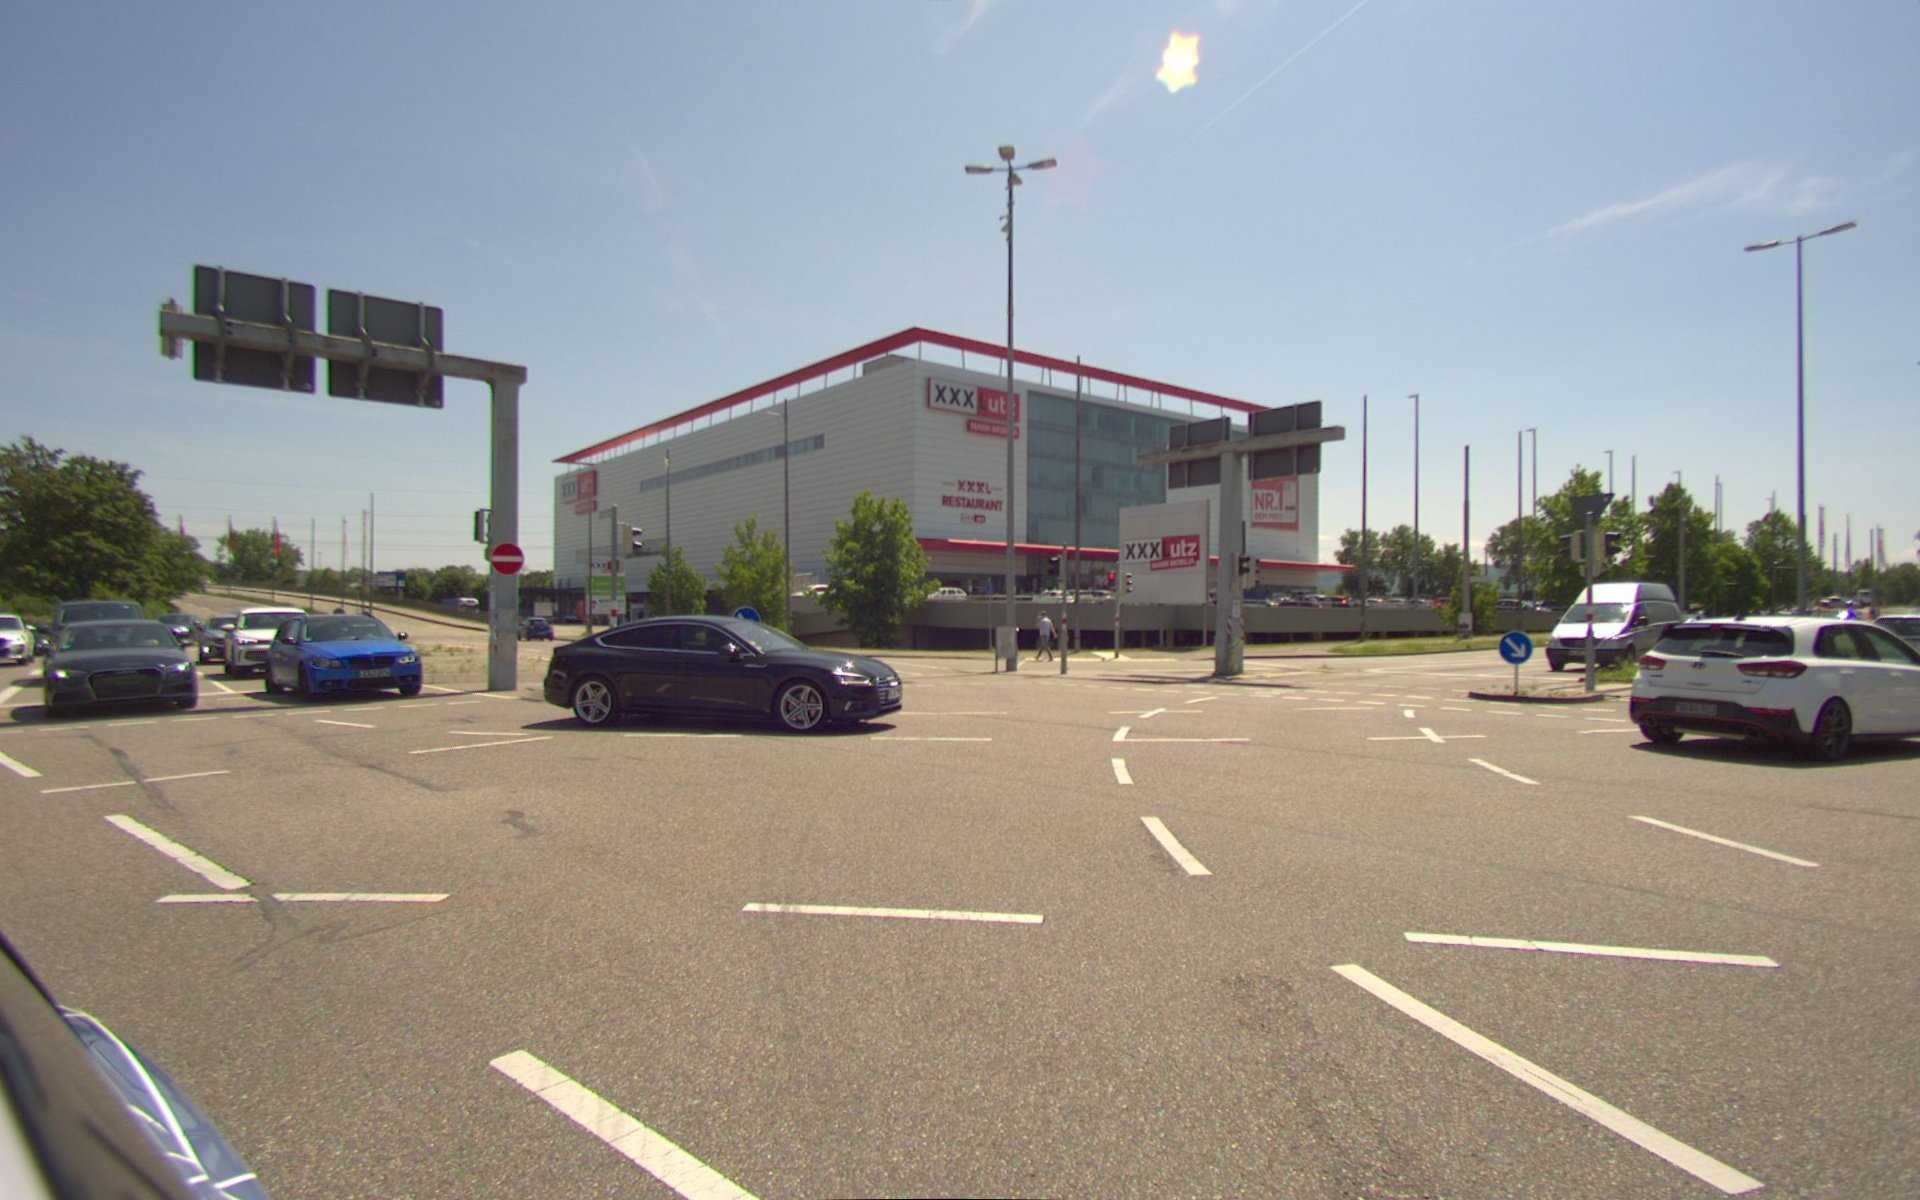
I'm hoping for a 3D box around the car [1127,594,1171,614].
[{"bbox_3d":[17.759,0.392,95.246,1.755,1.801,3.846,1,-1,-40],"label":"car"}]

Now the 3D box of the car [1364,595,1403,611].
[{"bbox_3d":[52.141,0.377,124.656,1.969,2.029,4.005,1,-1,-41],"label":"car"}]

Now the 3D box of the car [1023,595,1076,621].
[{"bbox_3d":[7.097,0.640,80.796,1.755,2.029,4.240,1,-1,-40],"label":"car"}]

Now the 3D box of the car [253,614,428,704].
[{"bbox_3d":[-11.083,0.997,17.971,1.744,1.414,4.434,1,-3,-44],"label":"car"}]

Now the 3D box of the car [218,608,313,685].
[{"bbox_3d":[-16.918,1.055,24.608,1.742,1.653,4.502,-1,0,-36],"label":"car"}]

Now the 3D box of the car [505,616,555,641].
[{"bbox_3d":[-28.647,1.846,67.372,1.969,1.608,4.006,1,-1,-40],"label":"car"}]

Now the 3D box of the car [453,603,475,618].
[{"bbox_3d":[-80.000,1.695,163.169,2.158,2.300,4.823,1,-1,-38],"label":"car"}]

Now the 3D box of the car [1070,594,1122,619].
[{"bbox_3d":[11.180,0.558,83.495,1.755,2.029,4.142,1,-1,-40],"label":"car"}]

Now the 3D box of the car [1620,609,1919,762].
[{"bbox_3d":[9.521,0.866,11.153,4.000,1.447,1.799,1,-2,-22],"label":"car"}]

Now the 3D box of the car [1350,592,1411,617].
[{"bbox_3d":[35.164,0.377,84.656,1.969,2.029,4.336,1,-1,-40],"label":"car"}]

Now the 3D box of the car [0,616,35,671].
[{"bbox_3d":[-30.471,1.333,31.789,1.751,1.621,3.829,1,-1,-38],"label":"car"}]

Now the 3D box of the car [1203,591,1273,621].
[{"bbox_3d":[19.282,0.435,70.372,1.970,2.029,4.332,1,-1,-44],"label":"car"}]

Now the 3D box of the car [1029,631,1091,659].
[{"bbox_3d":[6.632,2.936,66.859,3.940,1.719,2.002,1,-1,-44],"label":"car"}]

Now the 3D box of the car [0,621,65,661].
[{"bbox_3d":[-35.925,1.541,39.183,1.743,1.413,3.958,0,0,-39],"label":"car"}]

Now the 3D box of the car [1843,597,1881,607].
[{"bbox_3d":[127.434,0.262,143.002,4.007,1.433,1.675,0,-1,41],"label":"car"}]

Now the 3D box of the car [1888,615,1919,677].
[{"bbox_3d":[24.120,1.086,24.133,3.940,1.433,1.703,1,-2,-28],"label":"car"}]

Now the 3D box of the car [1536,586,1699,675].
[{"bbox_3d":[17.681,0.781,27.132,4.966,2.200,2.005,0,-2,-36],"label":"car"}]

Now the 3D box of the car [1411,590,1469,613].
[{"bbox_3d":[43.297,0.158,91.349,1.969,2.029,4.336,1,-1,-40],"label":"car"}]

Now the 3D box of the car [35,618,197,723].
[{"bbox_3d":[-13.340,1.000,15.914,1.744,1.393,4.094,-1,0,-43],"label":"car"}]

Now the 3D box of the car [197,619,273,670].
[{"bbox_3d":[-22.952,1.371,32.140,1.741,1.433,3.910,-1,-1,-33],"label":"car"}]

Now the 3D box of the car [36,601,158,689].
[{"bbox_3d":[-20.407,0.985,24.114,1.866,1.835,4.848,-1,0,-36],"label":"car"}]

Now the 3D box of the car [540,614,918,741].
[{"bbox_3d":[-2.890,0.897,12.752,4.429,1.415,1.667,-1,-1,18],"label":"car"}]

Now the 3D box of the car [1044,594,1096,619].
[{"bbox_3d":[8.873,0.541,82.165,1.755,2.029,4.142,1,-1,-40],"label":"car"}]

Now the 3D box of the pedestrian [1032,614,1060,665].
[{"bbox_3d":[3.051,1.383,36.059,0.595,1.797,0.828,1,-1,-38],"label":"pedestrian"}]

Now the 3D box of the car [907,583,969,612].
[{"bbox_3d":[-1.604,-0.124,73.610,4.402,2.029,1.682,1,-1,-38],"label":"car"}]
